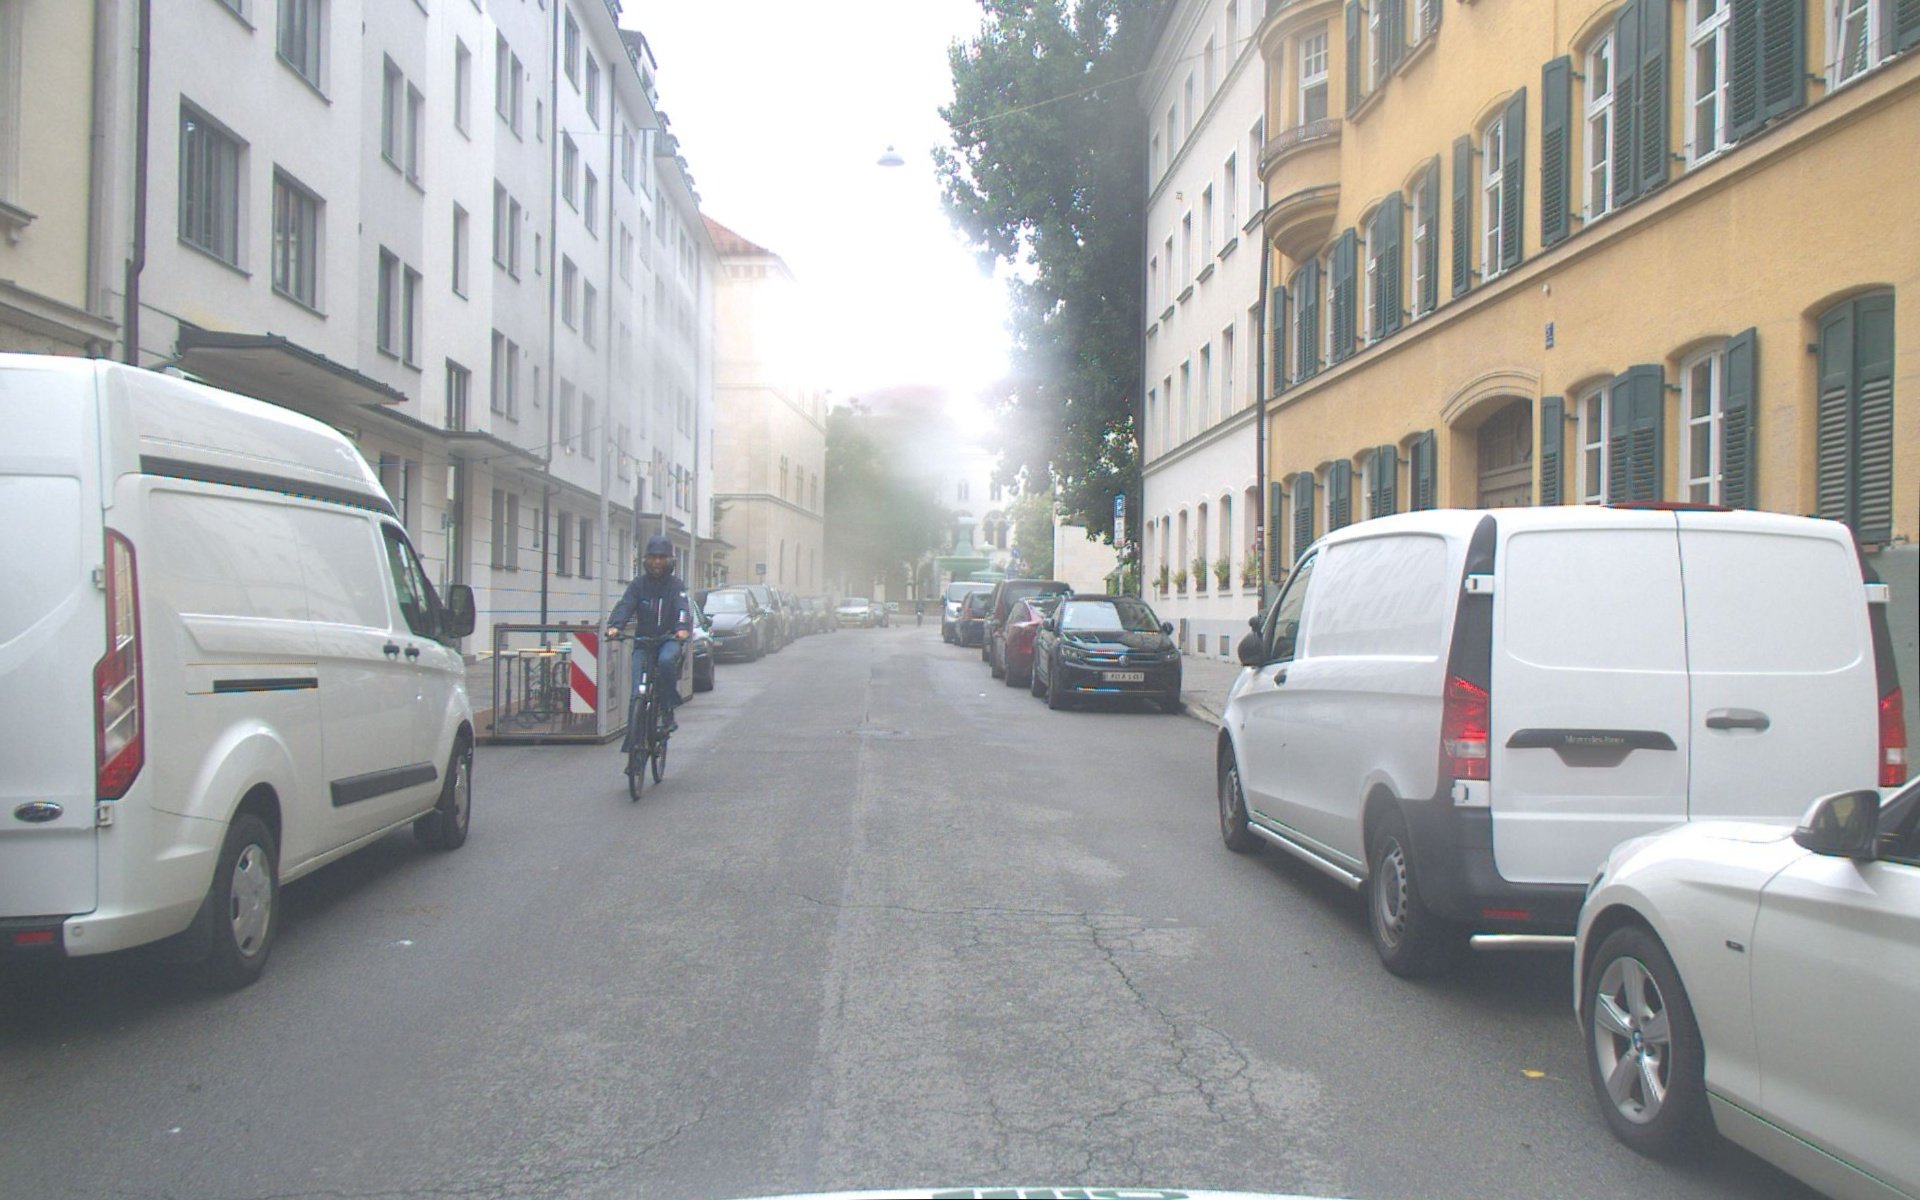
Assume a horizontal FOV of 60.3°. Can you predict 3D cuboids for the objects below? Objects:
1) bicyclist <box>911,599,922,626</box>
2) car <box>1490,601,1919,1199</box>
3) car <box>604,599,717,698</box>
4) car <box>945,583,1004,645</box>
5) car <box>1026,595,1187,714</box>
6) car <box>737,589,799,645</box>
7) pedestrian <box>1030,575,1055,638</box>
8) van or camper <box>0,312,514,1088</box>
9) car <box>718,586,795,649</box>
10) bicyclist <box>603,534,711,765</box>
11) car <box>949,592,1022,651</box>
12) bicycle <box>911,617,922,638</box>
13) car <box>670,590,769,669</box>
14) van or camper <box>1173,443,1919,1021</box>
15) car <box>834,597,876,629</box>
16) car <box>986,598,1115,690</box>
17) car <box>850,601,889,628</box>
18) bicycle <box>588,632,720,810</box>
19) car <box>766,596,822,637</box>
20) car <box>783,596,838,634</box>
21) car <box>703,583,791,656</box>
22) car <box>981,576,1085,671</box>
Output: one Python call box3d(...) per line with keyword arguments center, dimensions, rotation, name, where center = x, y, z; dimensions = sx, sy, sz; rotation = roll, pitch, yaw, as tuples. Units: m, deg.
box3d(center=(-2.595, 0.724, 98.183), dimensions=(0.643, 1.578, 0.887), rotation=(0, -1, 0), name="bicyclist")
box3d(center=(2.859, 0.788, 3.373), dimensions=(1.780, 1.536, 4.583), rotation=(0, 0, -5), name="car")
box3d(center=(-4.694, 0.704, 26.240), dimensions=(1.608, 1.378, 4.050), rotation=(-1, 1, -9), name="car")
box3d(center=(0.443, 0.431, 55.193), dimensions=(1.844, 1.958, 4.874), rotation=(1, 0, 0), name="car")
box3d(center=(1.943, 0.688, 22.970), dimensions=(1.711, 1.489, 3.998), rotation=(0, 0, -3), name="car")
box3d(center=(-6.132, 0.498, 53.199), dimensions=(1.836, 1.687, 4.585), rotation=(-1, 1, -5), name="car")
box3d(center=(2.979, 0.237, 59.638), dimensions=(0.777, 2.236, 0.813), rotation=(1, 0, -3), name="pedestrian")
box3d(center=(-3.692, 0.278, 7.703), dimensions=(1.954, 2.351, 5.475), rotation=(1, 0, -3), name="van or camper")
box3d(center=(-5.773, 0.462, 47.309), dimensions=(1.835, 1.687, 4.588), rotation=(-1, 1, -3), name="car")
box3d(center=(-2.257, 0.359, 12.404), dimensions=(0.673, 1.655, 0.852), rotation=(1, 0, -4), name="bicyclist")
box3d(center=(0.718, 0.619, 49.190), dimensions=(1.772, 1.628, 4.211), rotation=(1, 0, -4), name="car")
box3d(center=(-2.575, 1.611, 98.176), dimensions=(0.635, 1.218, 1.950), rotation=(0, 0, 0), name="bicycle")
box3d(center=(-5.169, 0.591, 35.999), dimensions=(1.738, 1.566, 4.156), rotation=(-1, 1, -3), name="car")
box3d(center=(2.563, 0.457, 8.537), dimensions=(1.954, 2.049, 5.229), rotation=(0, 0, -4), name="van or camper")
box3d(center=(-5.343, 0.680, 84.318), dimensions=(1.741, 1.562, 4.212), rotation=(-1, -1, 2), name="car")
box3d(center=(1.465, 0.698, 28.408), dimensions=(1.679, 1.449, 4.454), rotation=(1, 0, -4), name="car")
box3d(center=(-4.949, 0.811, 90.701), dimensions=(1.663, 1.417, 4.213), rotation=(-1, -1, 3), name="car")
box3d(center=(-2.256, 0.855, 12.416), dimensions=(0.718, 1.171, 1.998), rotation=(1, 0, -4), name="bicycle")
box3d(center=(-6.420, 0.621, 64.259), dimensions=(1.714, 1.479, 4.016), rotation=(-1, 1, 1), name="car")
box3d(center=(-6.192, 0.595, 69.094), dimensions=(1.714, 1.479, 4.017), rotation=(-1, 1, 3), name="car")
box3d(center=(-5.325, 0.445, 41.833), dimensions=(1.835, 1.717, 4.517), rotation=(-1, 1, -3), name="car")
box3d(center=(1.480, 0.490, 35.109), dimensions=(1.809, 1.807, 4.199), rotation=(3, -1, -2), name="car")
